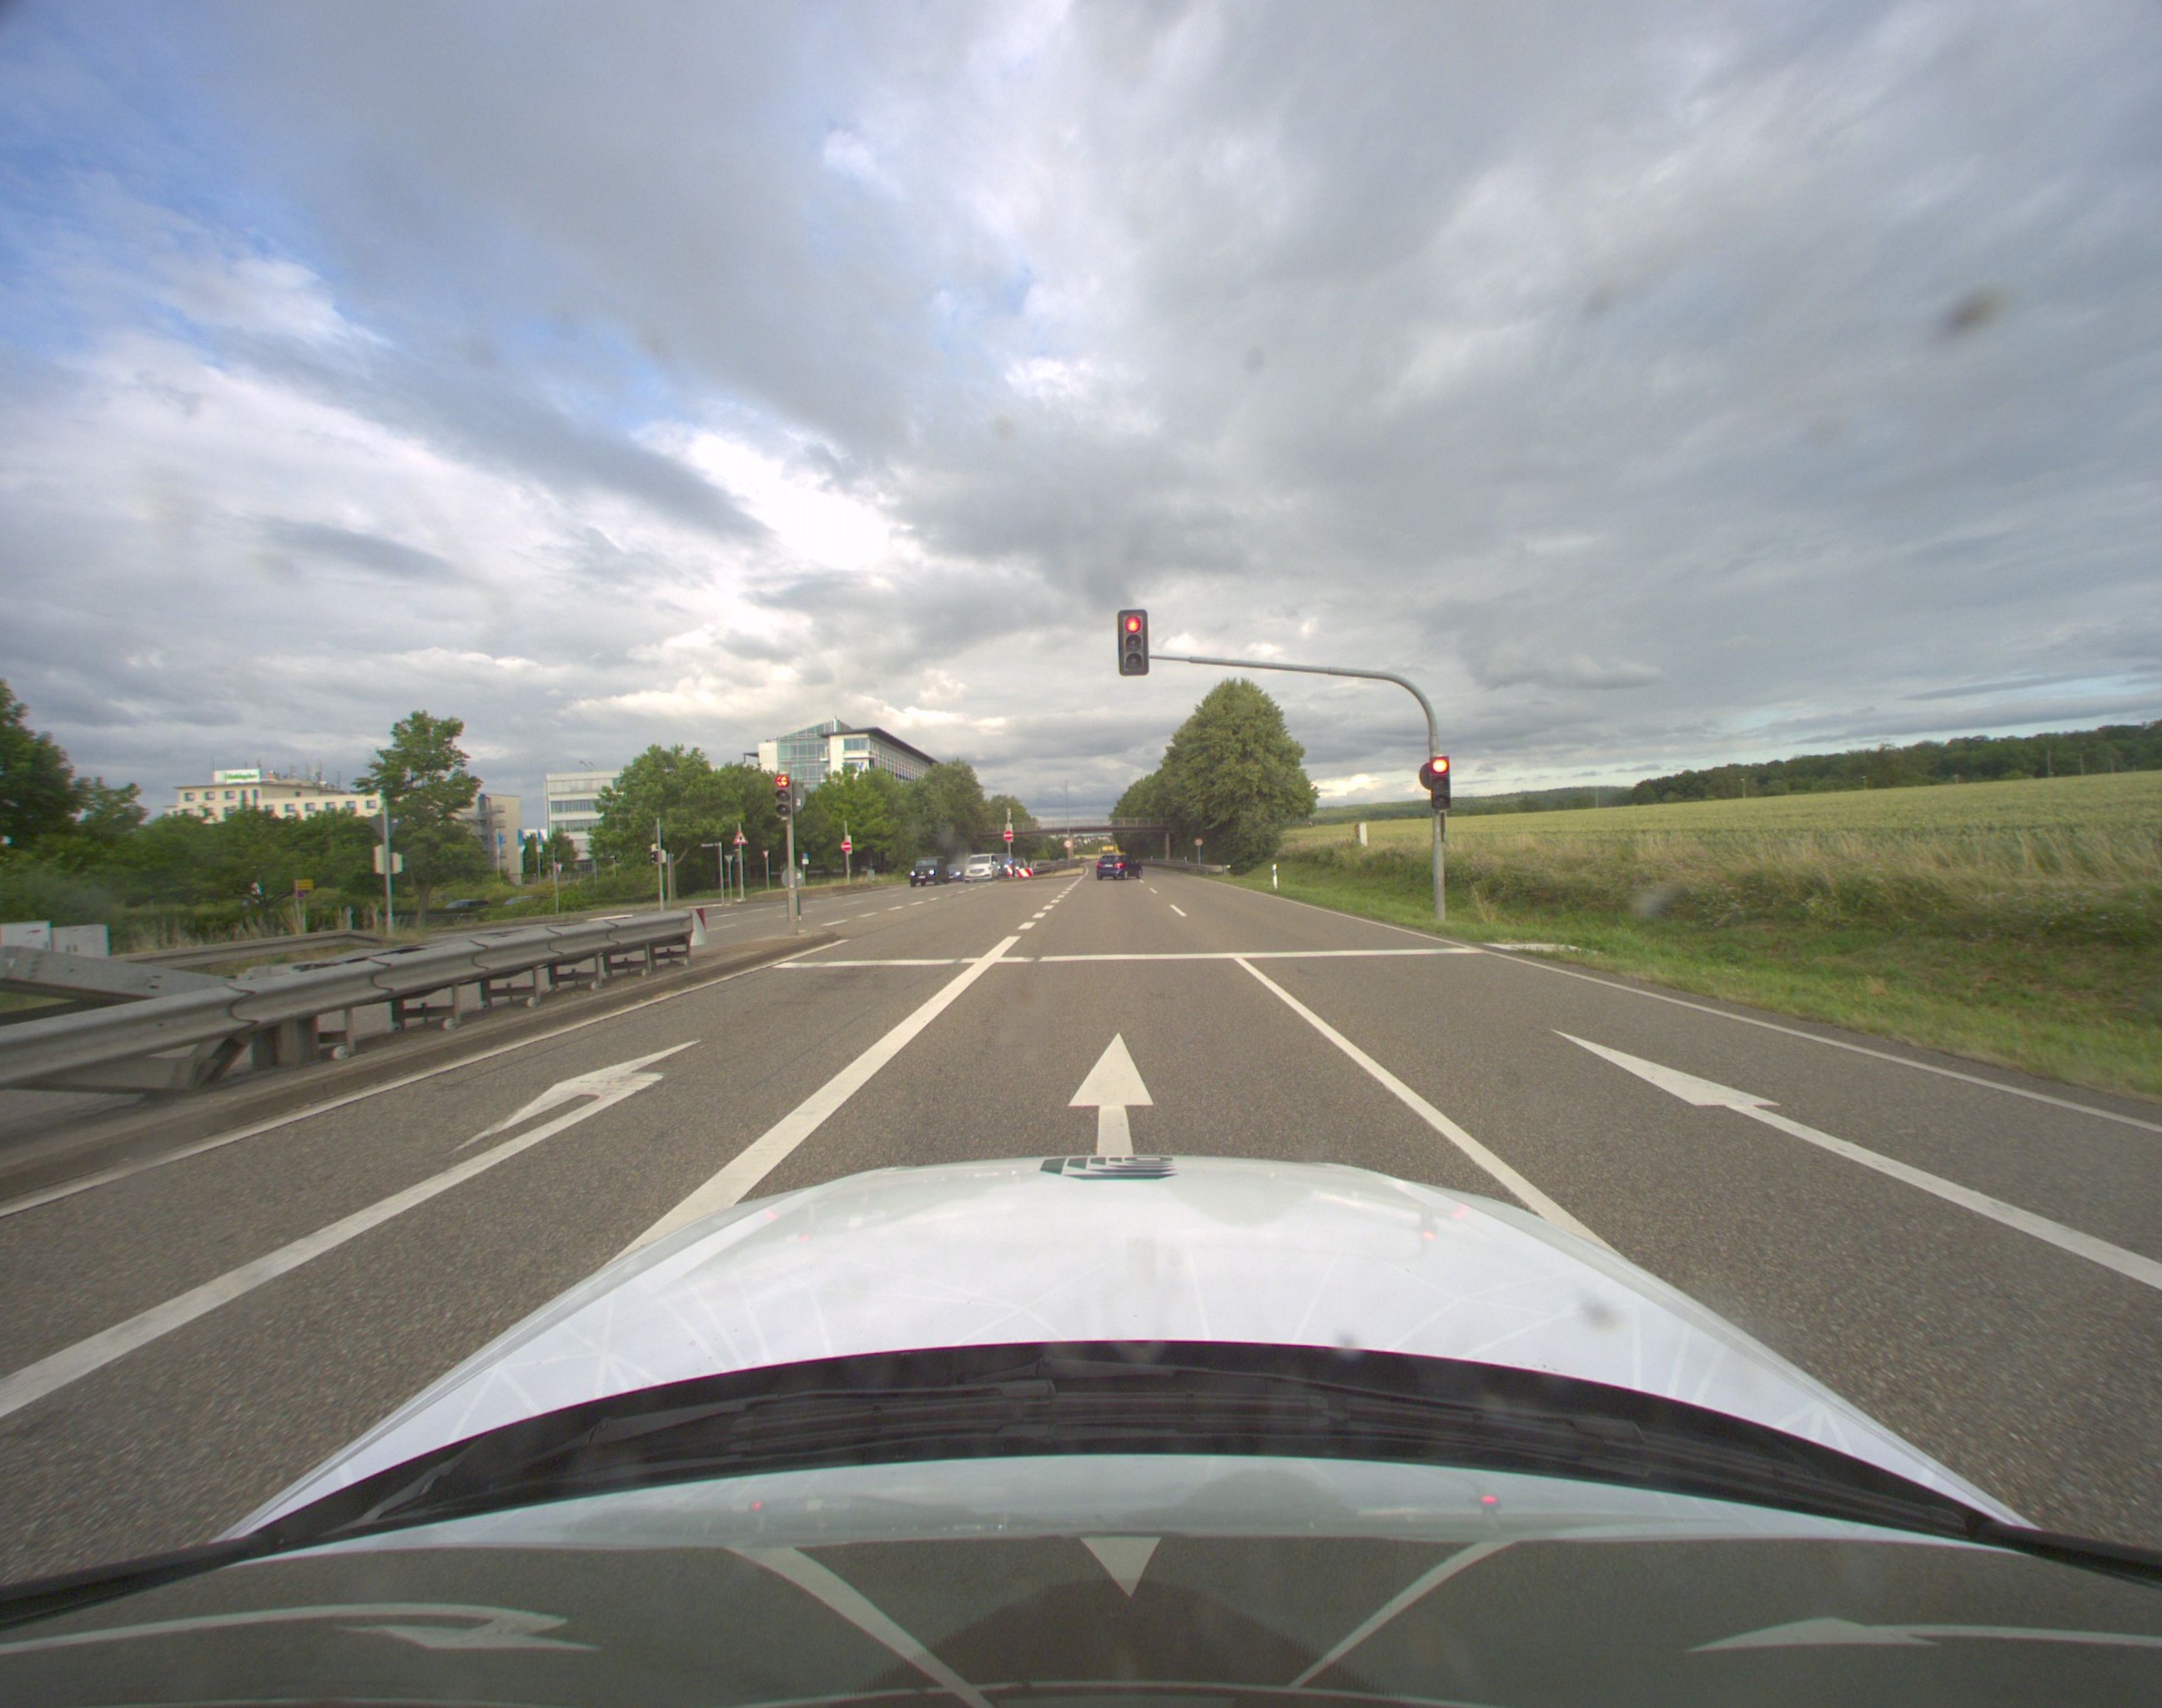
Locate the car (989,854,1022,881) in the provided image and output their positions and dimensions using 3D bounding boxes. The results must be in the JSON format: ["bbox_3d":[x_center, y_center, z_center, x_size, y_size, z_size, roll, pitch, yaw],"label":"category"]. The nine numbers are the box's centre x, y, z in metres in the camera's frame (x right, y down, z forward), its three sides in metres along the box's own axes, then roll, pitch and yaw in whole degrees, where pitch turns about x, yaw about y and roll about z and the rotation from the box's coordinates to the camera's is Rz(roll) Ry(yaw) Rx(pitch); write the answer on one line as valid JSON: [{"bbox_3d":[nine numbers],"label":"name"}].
[{"bbox_3d":[-5.904,1.034,64.401,2.076,2.014,5.216,0,0,1],"label":"car"}]

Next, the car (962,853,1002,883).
[{"bbox_3d":[-6.828,0.938,56.683,2.076,2.014,5.216,0,0,1],"label":"car"}]

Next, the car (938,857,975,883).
[{"bbox_3d":[-9.745,1.232,64.148,2.076,2.014,5.216,0,0,1],"label":"car"}]

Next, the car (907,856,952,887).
[{"bbox_3d":[-10.448,1.179,56.660,2.076,2.014,5.216,0,0,1],"label":"car"}]

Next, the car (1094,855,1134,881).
[{"bbox_3d":[2.052,0.827,49.745,1.868,1.552,4.012,-1,-1,11],"label":"car"}]
